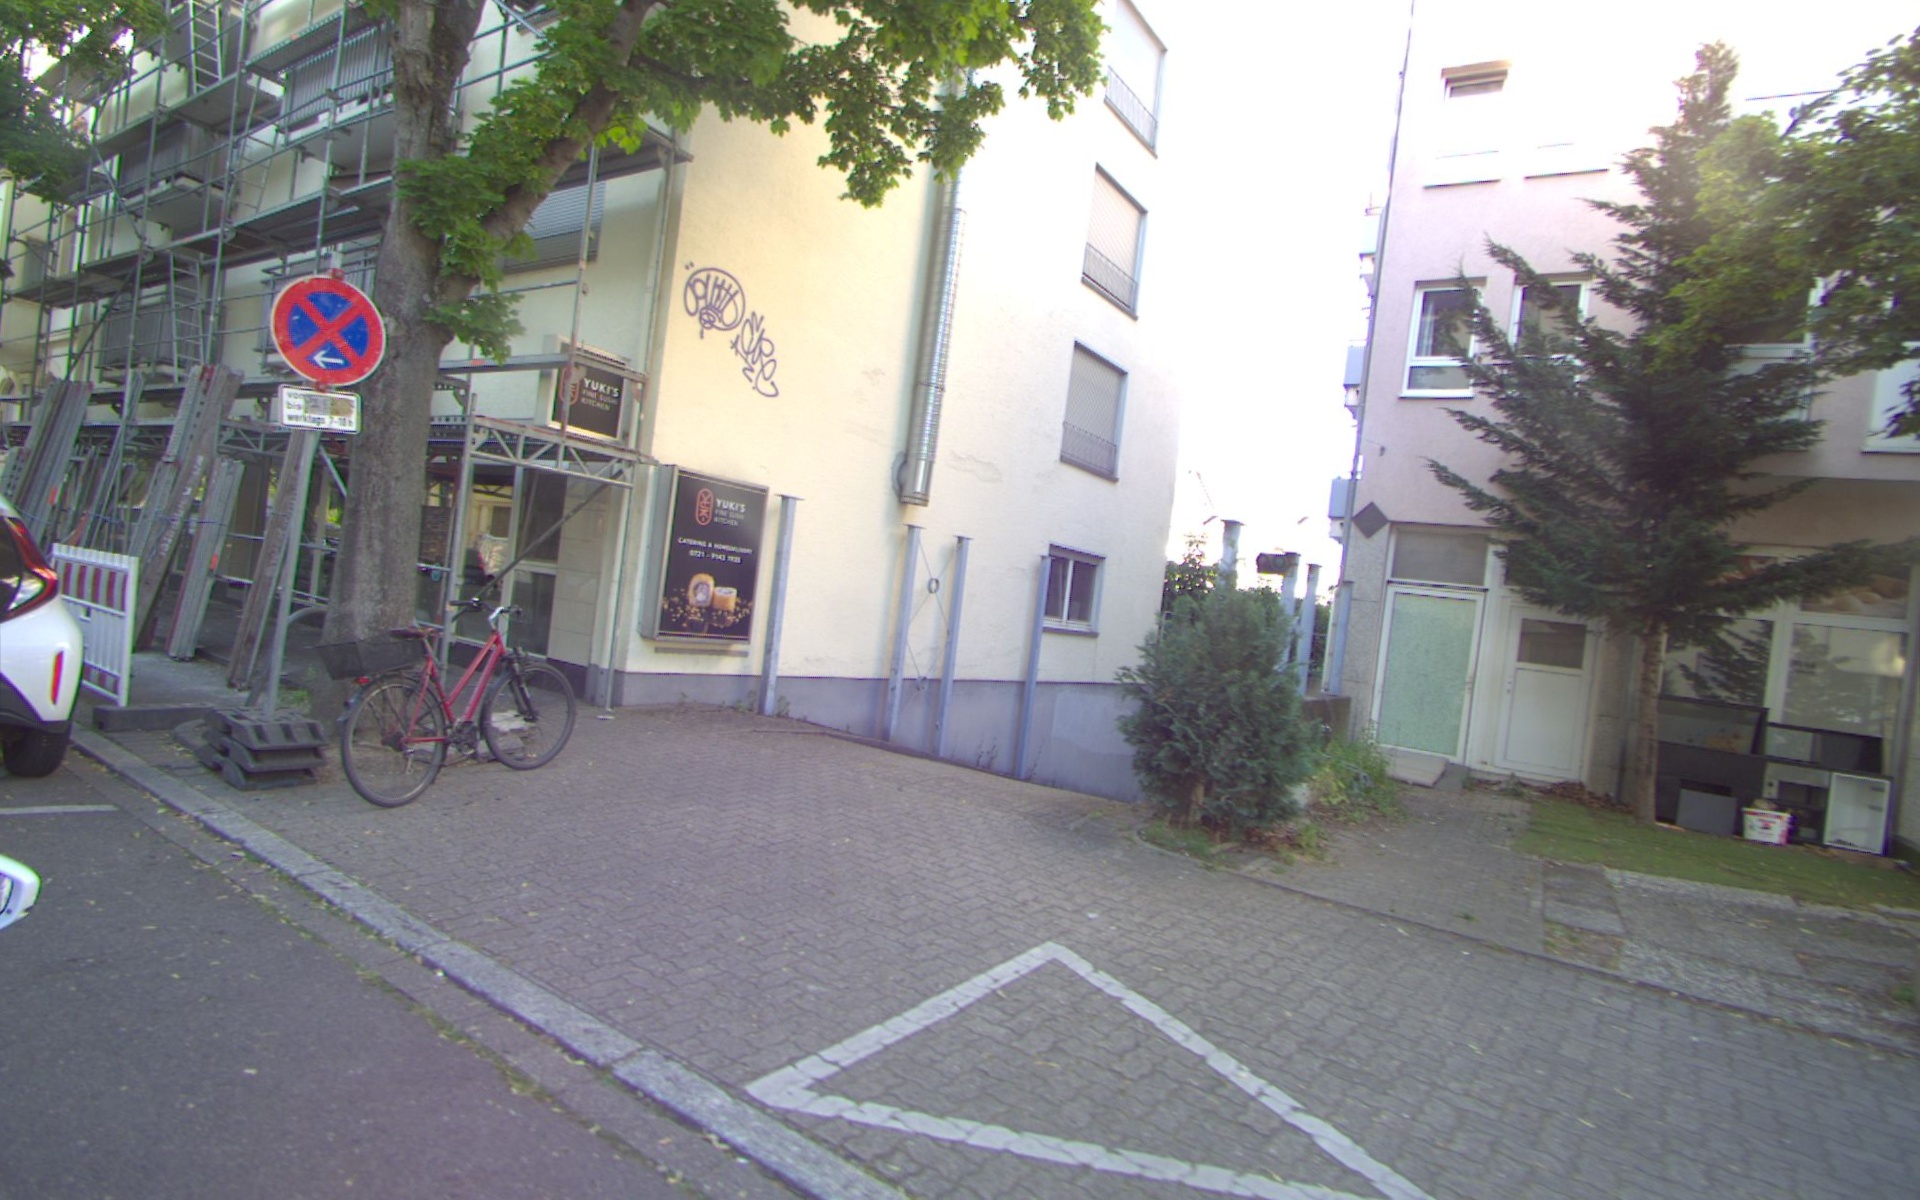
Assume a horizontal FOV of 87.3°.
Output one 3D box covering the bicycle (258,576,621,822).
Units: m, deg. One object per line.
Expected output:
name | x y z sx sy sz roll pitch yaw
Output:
bicycle | -3.040 0.504 6.155 0.713 1.181 1.984 7 2 17

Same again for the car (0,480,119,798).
car | -6.334 -0.006 5.533 3.350 1.563 1.677 7 -2 35
